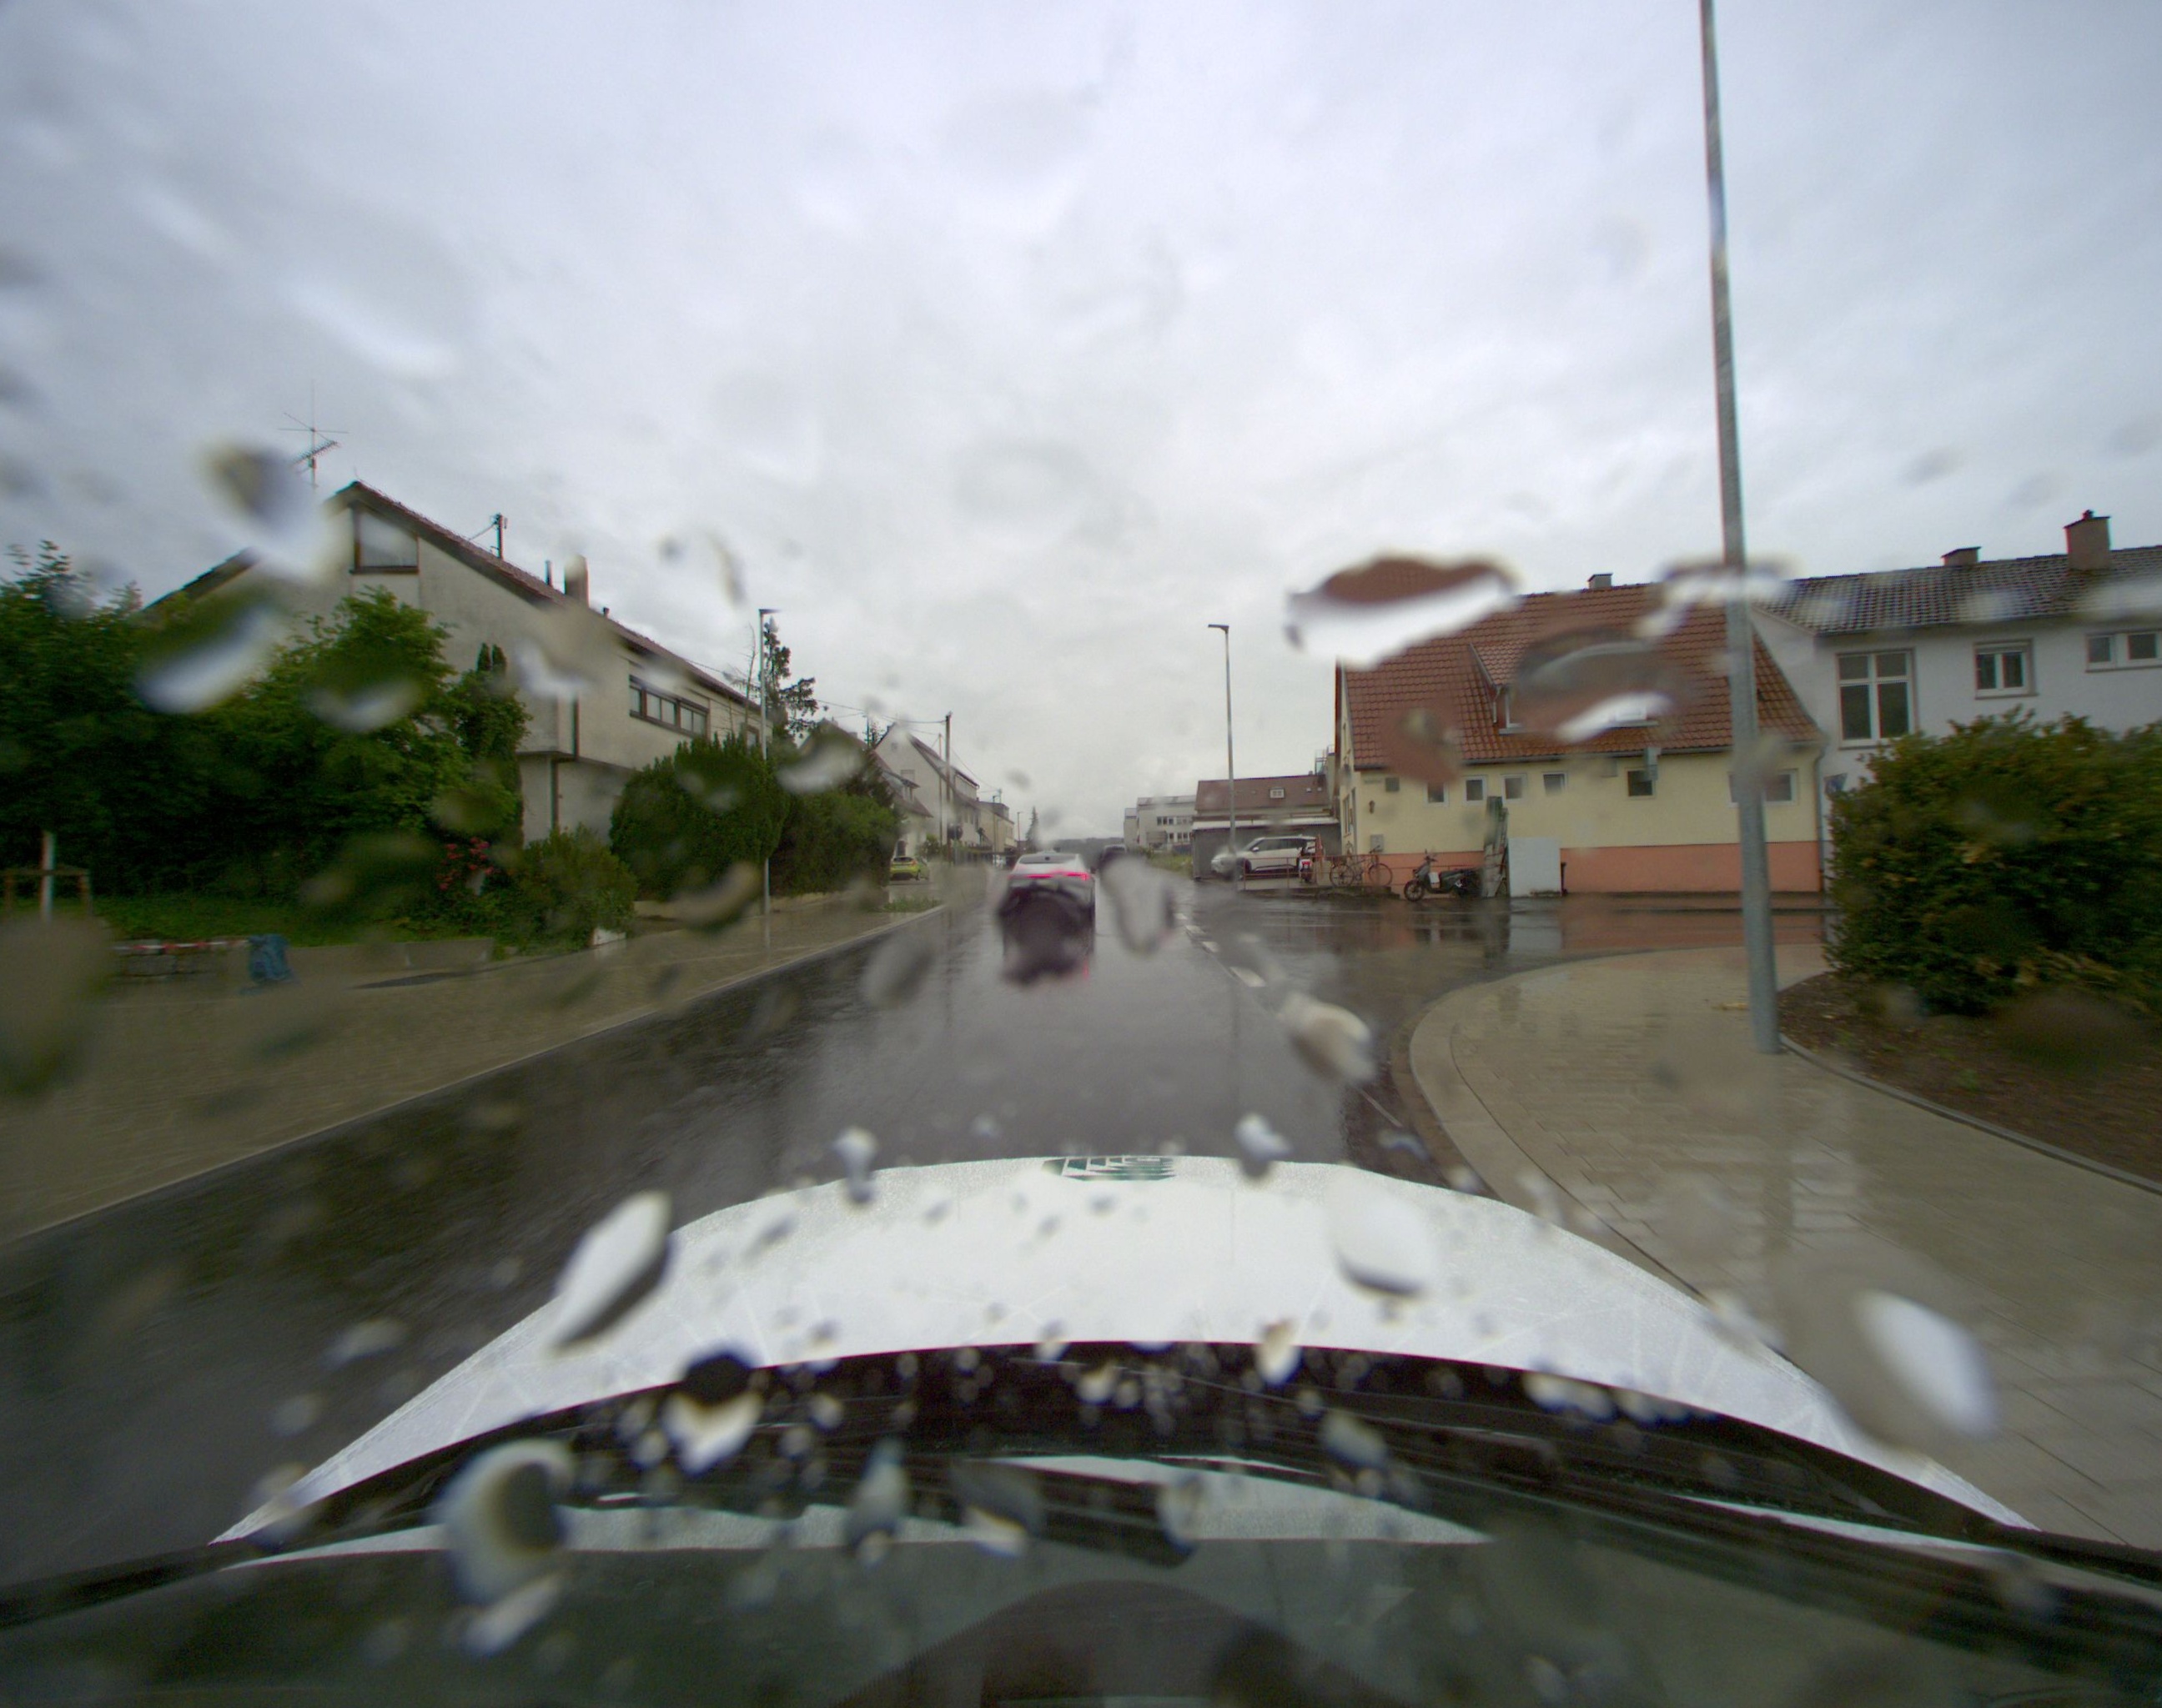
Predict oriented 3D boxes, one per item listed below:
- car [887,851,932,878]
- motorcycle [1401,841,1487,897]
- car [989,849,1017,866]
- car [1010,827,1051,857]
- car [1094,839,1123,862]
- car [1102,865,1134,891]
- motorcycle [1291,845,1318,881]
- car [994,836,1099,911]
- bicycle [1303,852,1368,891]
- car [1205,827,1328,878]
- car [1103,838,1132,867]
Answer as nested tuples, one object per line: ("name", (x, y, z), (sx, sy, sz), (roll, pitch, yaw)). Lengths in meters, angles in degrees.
("car", (-9.987, 0.629, 47.639), (1.772, 1.467, 3.458), (-2, -1, 2))
("motorcycle", (9.701, 0.402, 21.799), (2.018, 1.456, 0.491), (-1, -1, 14))
("car", (-7.284, 0.335, 76.087), (1.986, 1.510, 4.897), (1, 0, 1))
("car", (-2.751, -0.626, 45.513), (1.922, 1.539, 4.321), (-1, 0, 1))
("car", (1.992, -0.232, 60.465), (1.639, 1.575, 4.637), (-1, 0, -4))
("car", (2.088, 1.345, 47.215), (1.762, 1.336, 4.321), (-1, 0, 1))
("motorcycle", (7.146, 0.269, 26.125), (0.485, 1.096, 2.003), (-1, 1, 6))
("car", (-0.657, 0.403, 19.164), (1.985, 1.502, 4.673), (-2, 0, 3))
("bicycle", (7.371, 0.500, 23.624), (1.757, 1.096, 0.491), (-1, 1, 15))
("car", (7.004, -0.046, 31.089), (4.203, 1.610, 1.860), (-4, -1, -1))
("car", (2.375, -0.093, 54.114), (1.762, 1.825, 4.575), (-1, 0, 1))
